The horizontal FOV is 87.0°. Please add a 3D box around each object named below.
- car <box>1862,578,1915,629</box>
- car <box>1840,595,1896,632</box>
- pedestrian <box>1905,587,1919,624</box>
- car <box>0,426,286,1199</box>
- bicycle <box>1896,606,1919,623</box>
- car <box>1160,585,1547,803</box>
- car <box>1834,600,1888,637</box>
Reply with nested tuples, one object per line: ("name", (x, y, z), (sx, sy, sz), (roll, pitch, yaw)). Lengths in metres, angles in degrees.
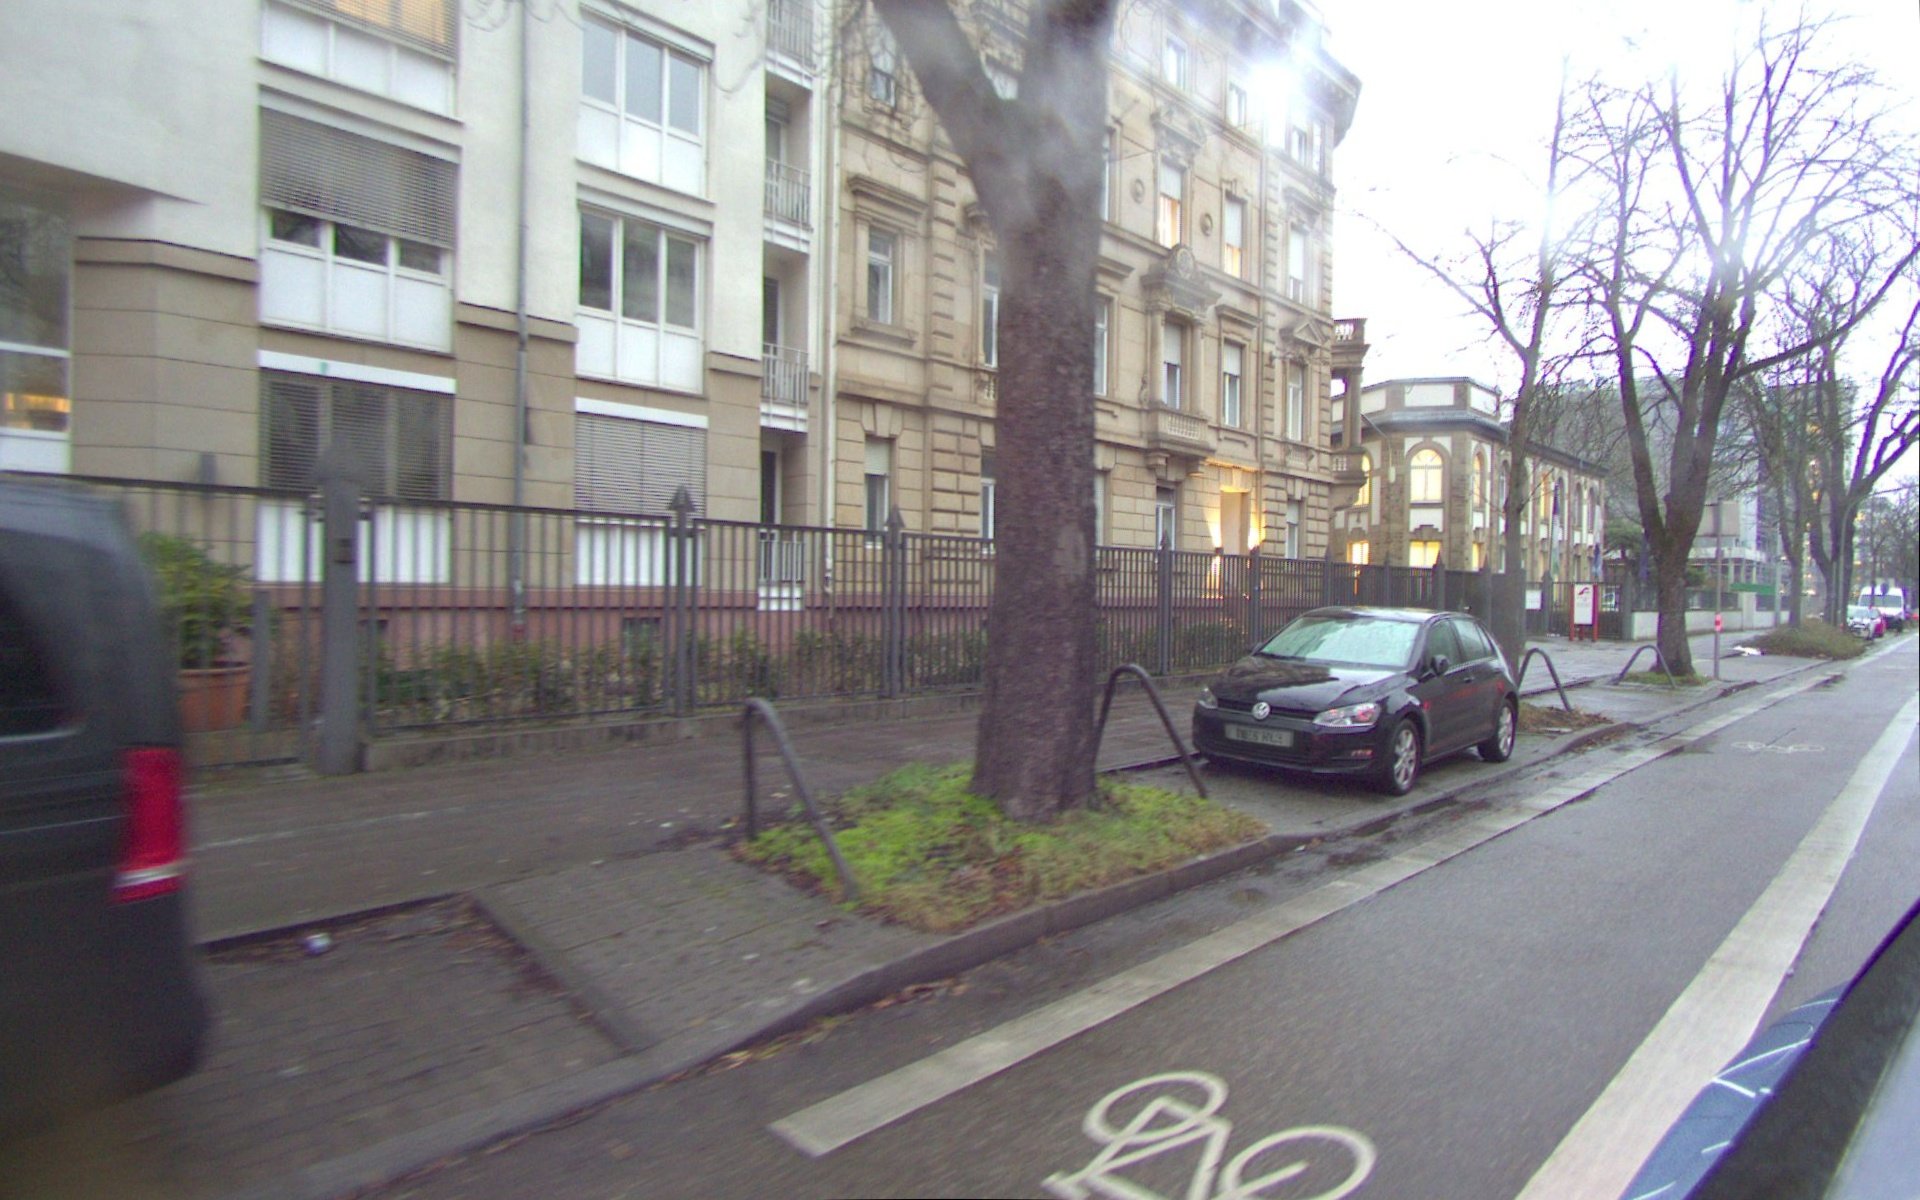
("car", (51.411, 0.155, 56.020), (2.087, 2.670, 5.365), (0, 1, 43))
("car", (44.308, 0.635, 49.353), (1.993, 1.703, 3.938), (0, 1, 43))
("pedestrian", (58.915, 0.338, 62.253), (1.115, 2.287, 0.938), (0, 0, 44))
("car", (-4.139, 0.544, 1.565), (4.881, 1.899, 2.033), (0, 1, -44))
("bicycle", (58.917, 0.909, 62.253), (1.913, 1.004, 0.845), (0, 1, 45))
("car", (3.740, 0.673, 9.226), (1.759, 1.463, 4.090), (4, 2, 45))
("car", (37.670, 0.721, 42.282), (1.623, 1.425, 3.938), (0, 1, 43))
